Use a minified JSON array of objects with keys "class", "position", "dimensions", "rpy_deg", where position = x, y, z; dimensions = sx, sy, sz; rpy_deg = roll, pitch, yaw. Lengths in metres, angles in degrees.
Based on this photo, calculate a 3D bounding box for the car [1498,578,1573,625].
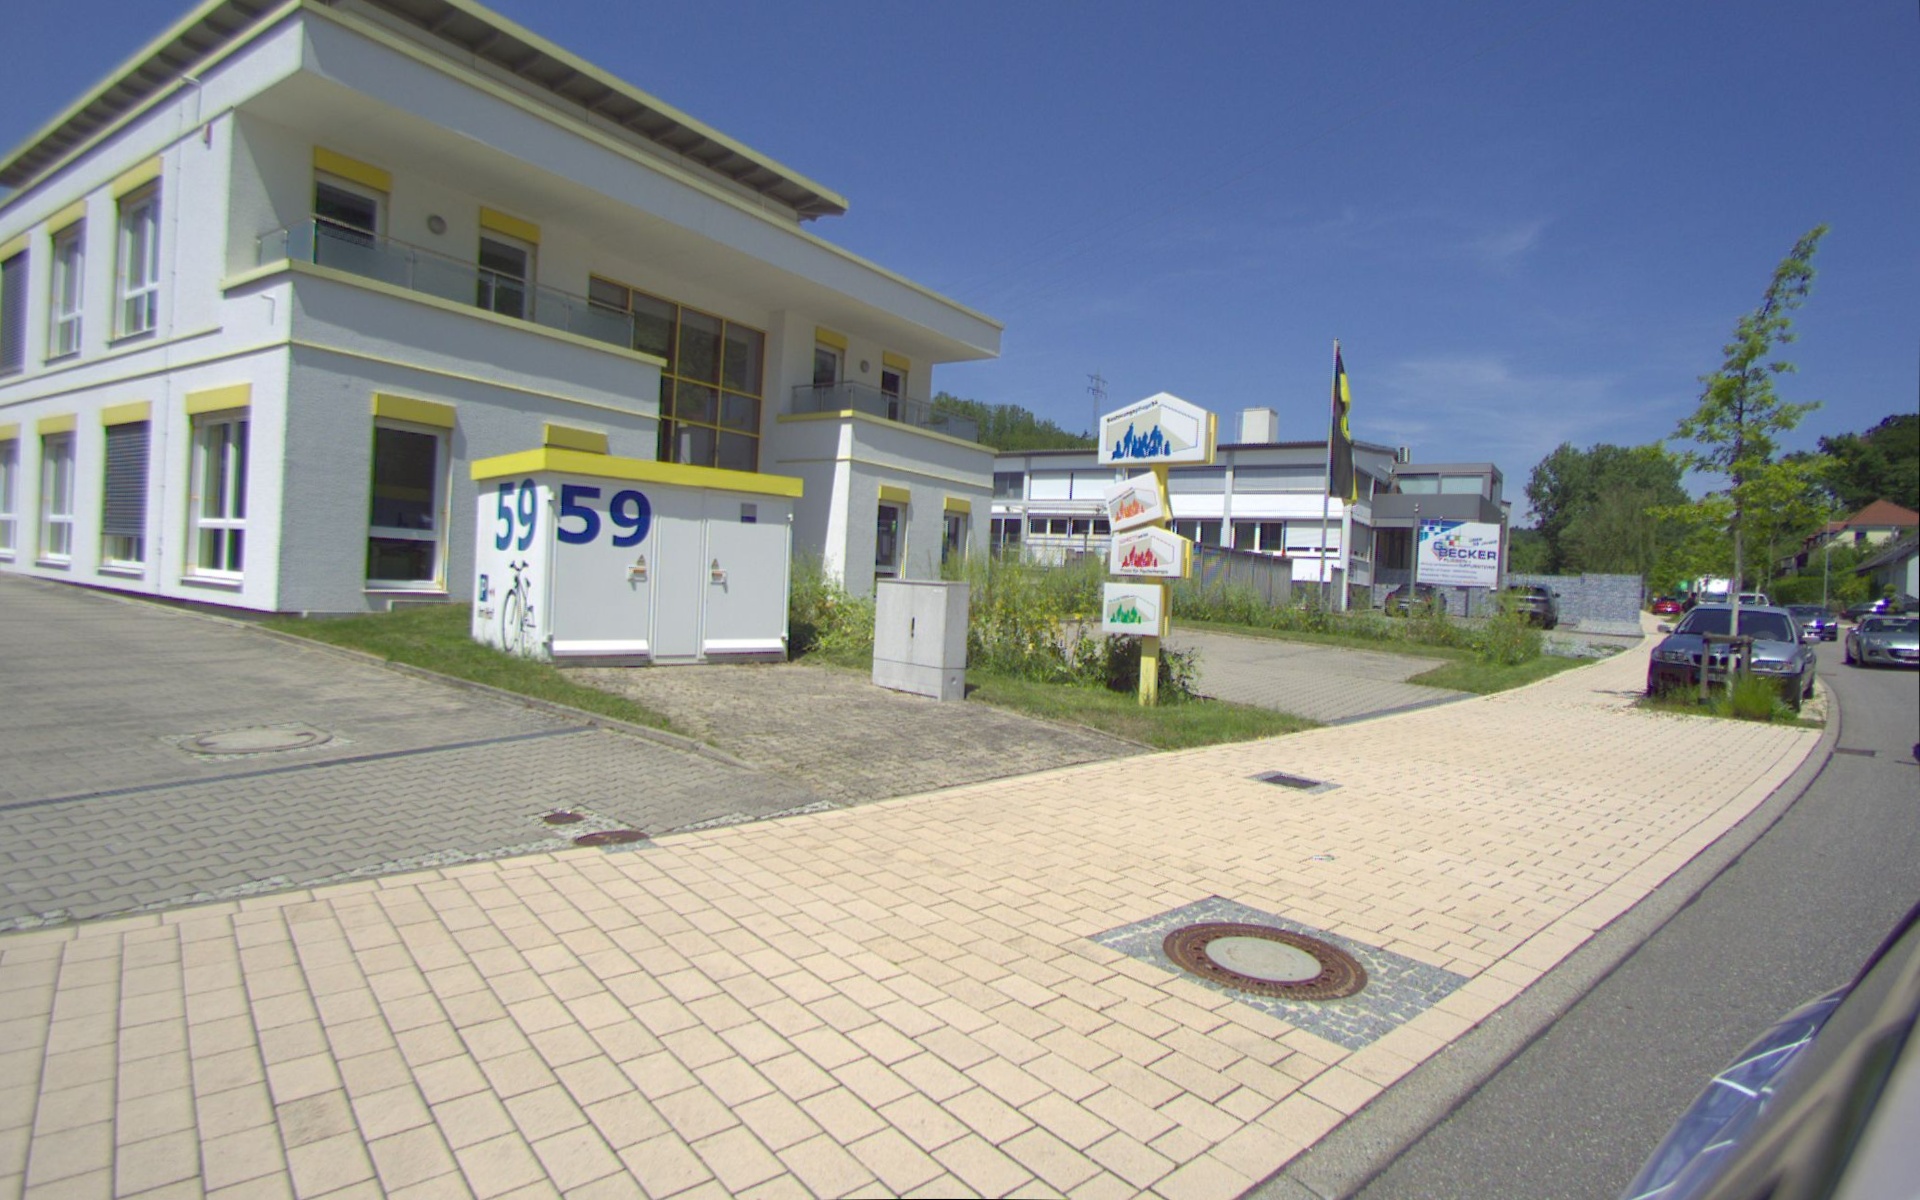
[{"class":"car","position":[21.489,0.032,37.744],"dimensions":[1.989,1.504,3.949],"rpy_deg":[6,4,35]}]

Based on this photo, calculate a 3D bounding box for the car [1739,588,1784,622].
[{"class":"car","position":[48.008,0.285,60.672],"dimensions":[1.960,1.856,4.404],"rpy_deg":[4,2,38]}]

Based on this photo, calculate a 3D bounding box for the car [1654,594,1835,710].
[{"class":"car","position":[11.690,0.666,14.988],"dimensions":[1.672,1.393,3.936],"rpy_deg":[4,3,44]}]

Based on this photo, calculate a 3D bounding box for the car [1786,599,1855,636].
[{"class":"car","position":[34.810,0.675,41.031],"dimensions":[1.902,1.366,3.945],"rpy_deg":[2,2,38]}]

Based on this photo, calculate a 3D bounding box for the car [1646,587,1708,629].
[{"class":"car","position":[28.373,0.284,40.139],"dimensions":[1.639,1.548,3.822],"rpy_deg":[2,1,30]}]

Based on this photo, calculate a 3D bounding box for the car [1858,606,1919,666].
[{"class":"car","position":[22.483,0.834,24.022],"dimensions":[1.662,1.276,3.499],"rpy_deg":[2,2,41]}]

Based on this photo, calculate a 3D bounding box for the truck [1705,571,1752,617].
[{"class":"truck","position":[63.154,-0.527,83.115],"dimensions":[2.794,3.455,8.007],"rpy_deg":[4,2,38]}]

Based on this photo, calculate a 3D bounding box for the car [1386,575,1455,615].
[{"class":"car","position":[18.371,-0.221,40.309],"dimensions":[1.735,1.381,3.792],"rpy_deg":[6,4,35]}]
